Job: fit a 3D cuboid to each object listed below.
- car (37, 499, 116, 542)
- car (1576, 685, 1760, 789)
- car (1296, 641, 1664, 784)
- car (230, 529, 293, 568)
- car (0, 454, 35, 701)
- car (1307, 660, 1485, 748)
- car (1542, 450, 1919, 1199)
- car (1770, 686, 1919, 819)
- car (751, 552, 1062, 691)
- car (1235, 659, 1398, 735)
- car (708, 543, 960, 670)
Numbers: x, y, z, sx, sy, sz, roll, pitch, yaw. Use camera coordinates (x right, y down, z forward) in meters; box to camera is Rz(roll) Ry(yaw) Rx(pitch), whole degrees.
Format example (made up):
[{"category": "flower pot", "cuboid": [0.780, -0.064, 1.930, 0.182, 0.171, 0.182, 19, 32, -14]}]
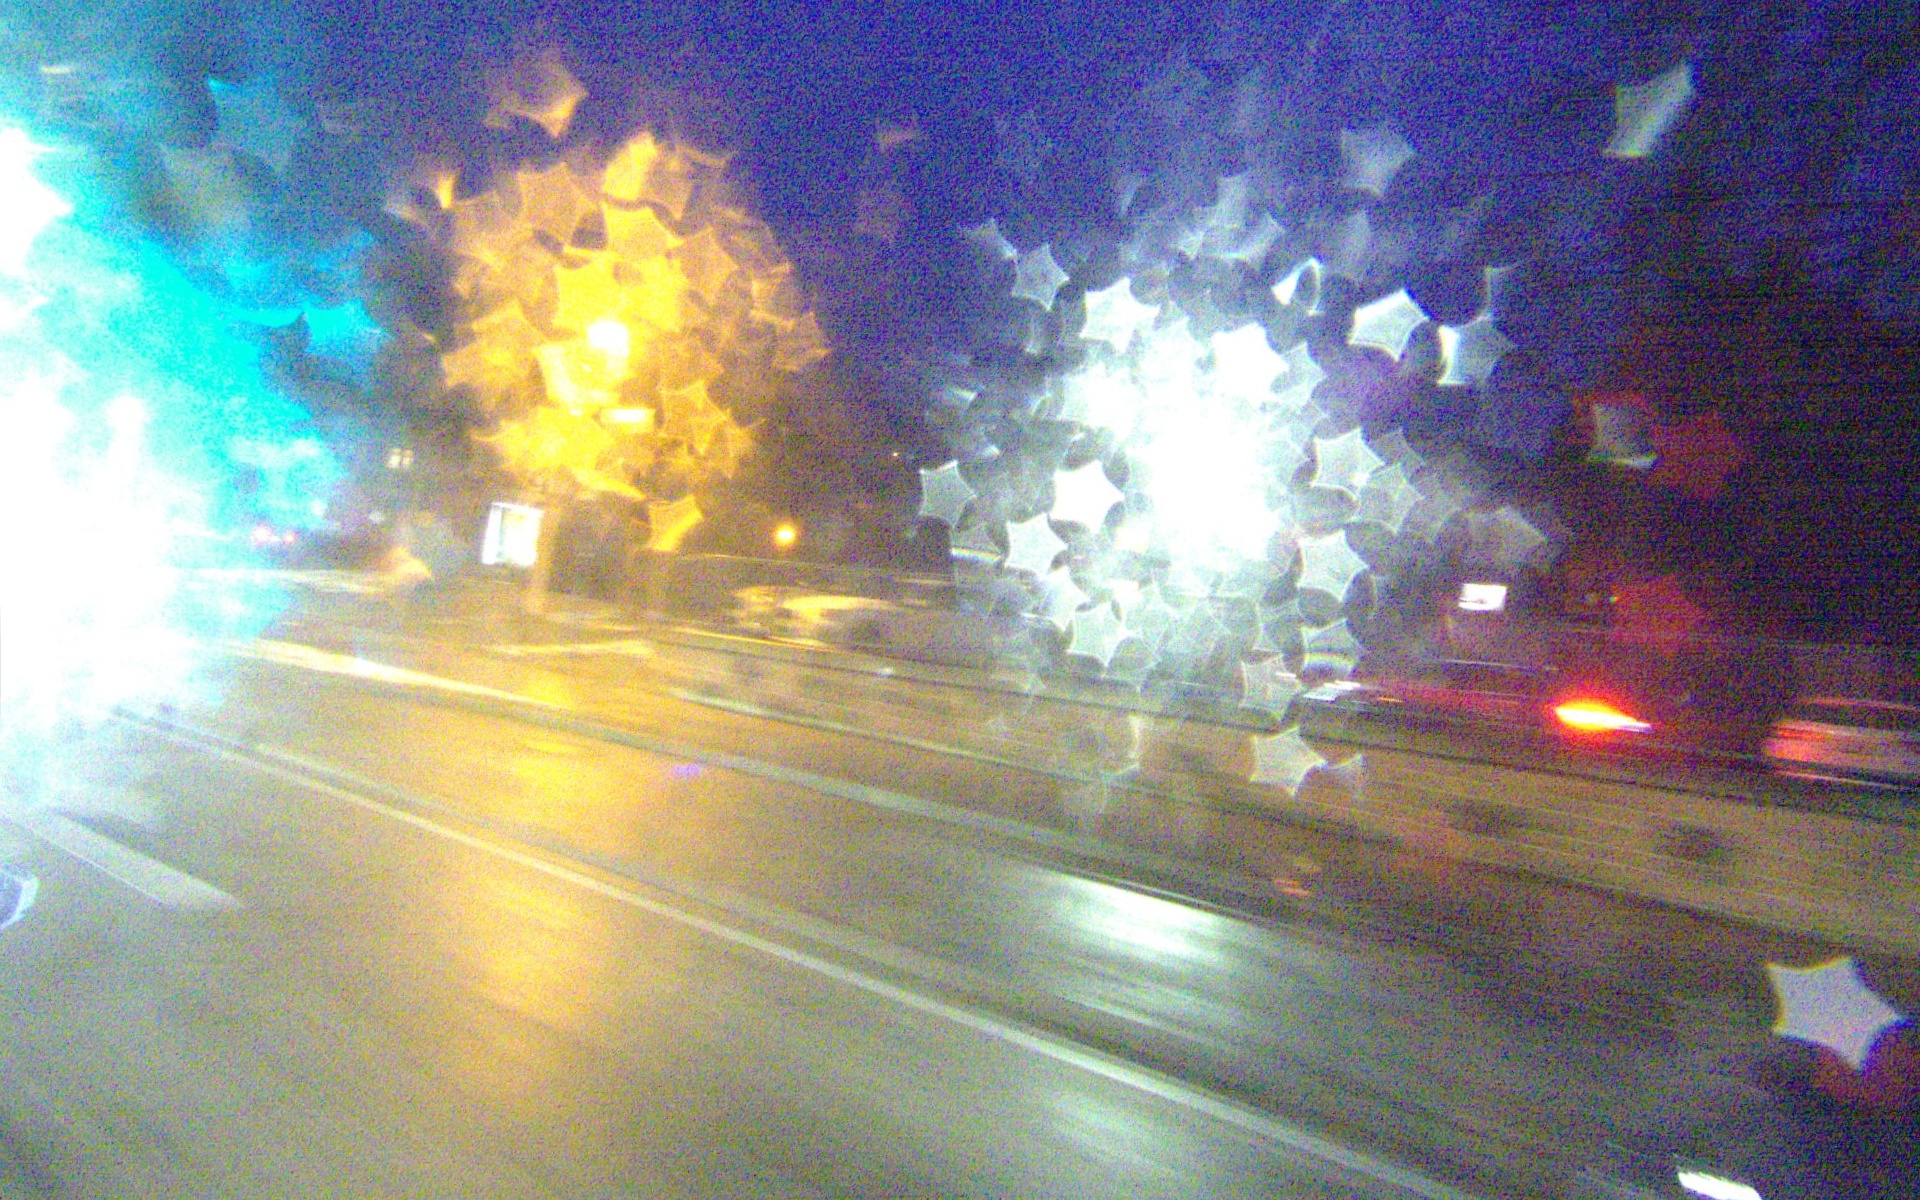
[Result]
[{"category": "car", "cuboid": [-41.860, -3.779, 47.644, 3.900, 1.667, 1.865, 6, 0, 34]}, {"category": "car", "cuboid": [11.682, 2.276, 16.528, 3.481, 1.306, 1.458, 10, -3, -38]}, {"category": "car", "cuboid": [7.780, 1.636, 15.515, 1.713, 1.500, 4.660, 9, -3, -37]}, {"category": "car", "cuboid": [-37.811, -2.781, 54.408, 4.014, 1.687, 1.771, 5, -3, 42]}, {"category": "car", "cuboid": [-9.296, -0.400, 7.692, 4.266, 1.886, 1.857, 6, -2, 29]}, {"category": "car", "cuboid": [9.360, 2.249, 21.477, 3.970, 1.399, 1.711, 10, -3, -38]}, {"category": "car", "cuboid": [3.091, 1.049, 0.416, 4.859, 1.755, 1.839, 6, -2, 31]}, {"category": "car", "cuboid": [13.164, 2.216, 14.217, 3.918, 1.503, 1.747, 10, -3, -38]}, {"category": "car", "cuboid": [-0.785, 0.365, 15.476, 4.293, 1.476, 1.840, 9, -3, -28]}, {"category": "car", "cuboid": [8.338, 2.275, 23.402, 3.970, 1.298, 1.643, 10, -3, -38]}, {"category": "car", "cuboid": [-2.184, 0.149, 17.529, 3.845, 1.591, 1.821, 9, -3, -28]}]
